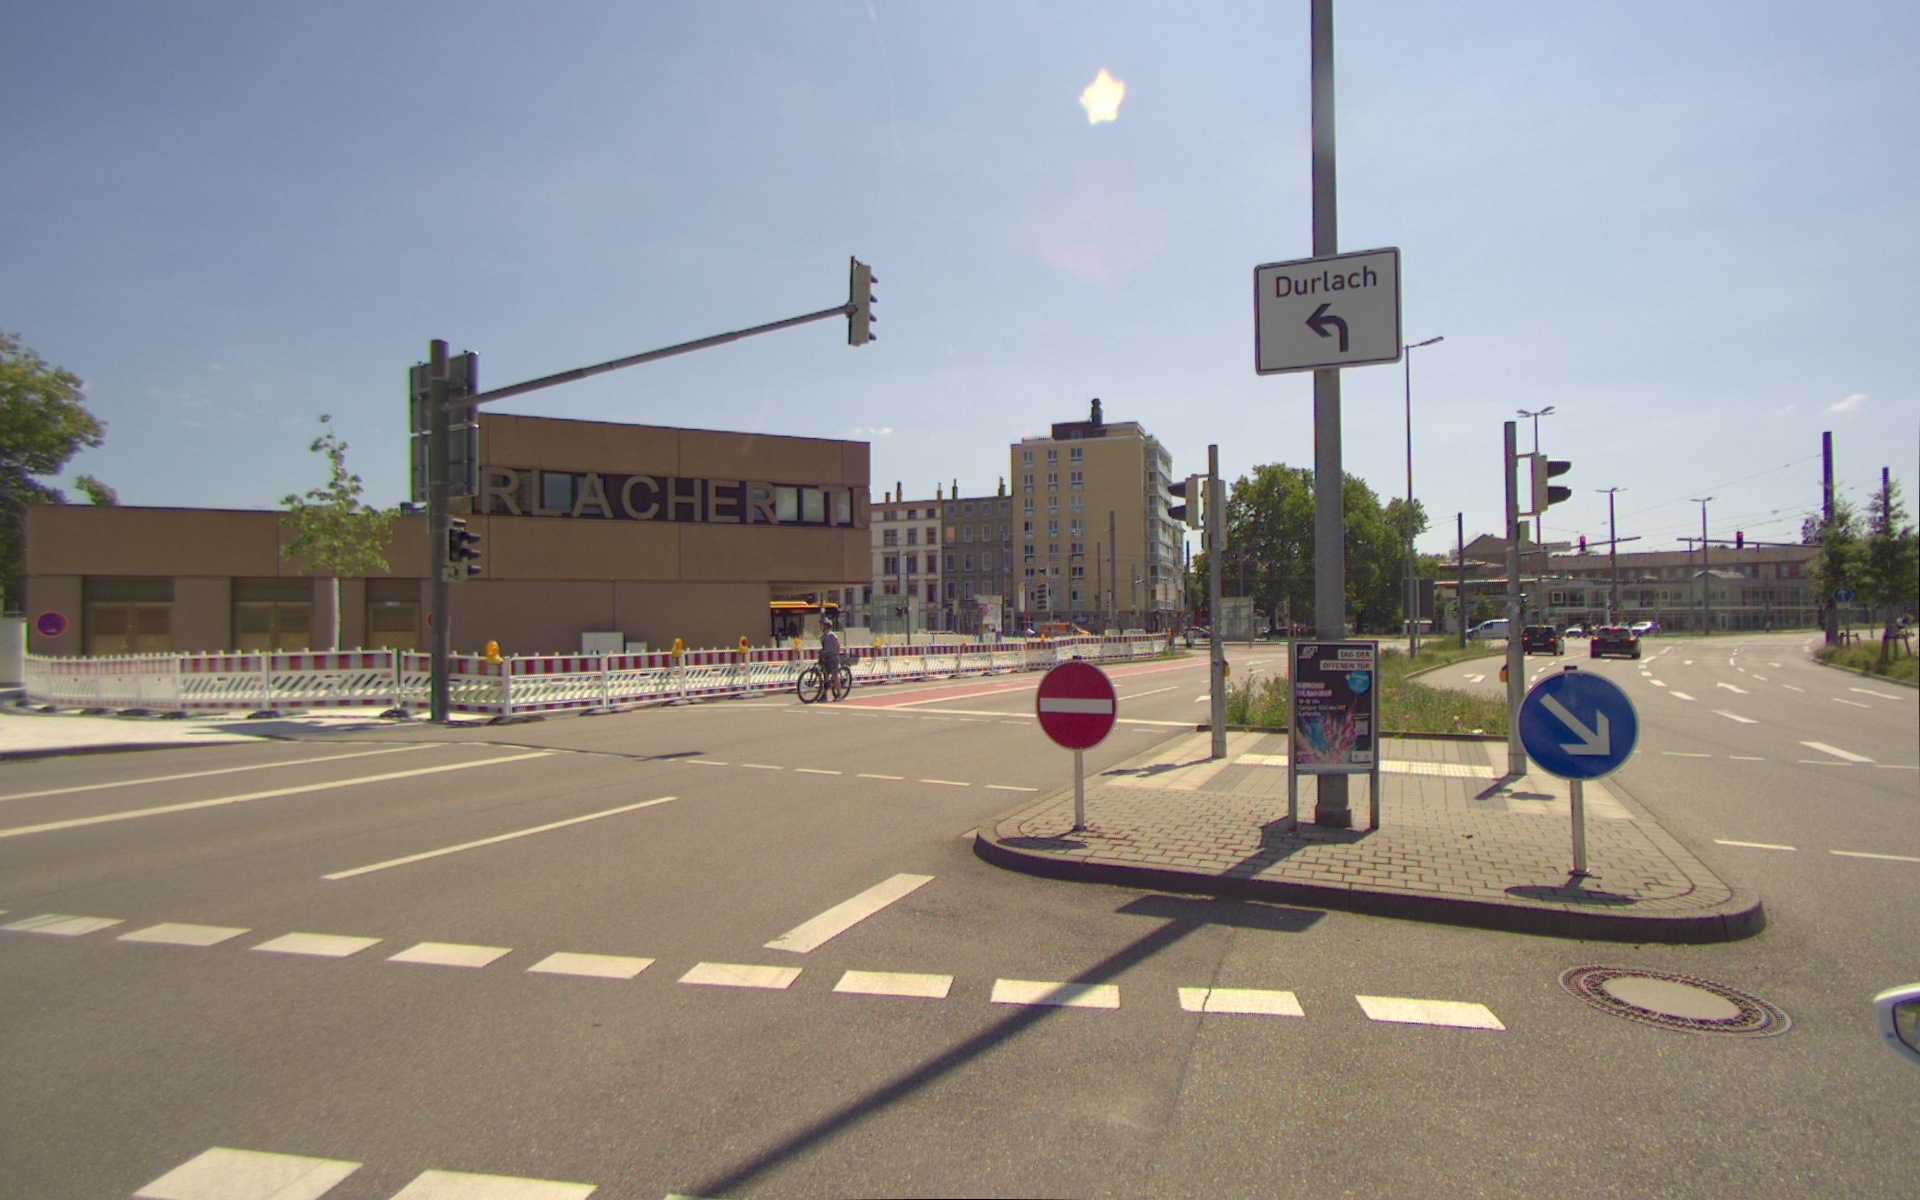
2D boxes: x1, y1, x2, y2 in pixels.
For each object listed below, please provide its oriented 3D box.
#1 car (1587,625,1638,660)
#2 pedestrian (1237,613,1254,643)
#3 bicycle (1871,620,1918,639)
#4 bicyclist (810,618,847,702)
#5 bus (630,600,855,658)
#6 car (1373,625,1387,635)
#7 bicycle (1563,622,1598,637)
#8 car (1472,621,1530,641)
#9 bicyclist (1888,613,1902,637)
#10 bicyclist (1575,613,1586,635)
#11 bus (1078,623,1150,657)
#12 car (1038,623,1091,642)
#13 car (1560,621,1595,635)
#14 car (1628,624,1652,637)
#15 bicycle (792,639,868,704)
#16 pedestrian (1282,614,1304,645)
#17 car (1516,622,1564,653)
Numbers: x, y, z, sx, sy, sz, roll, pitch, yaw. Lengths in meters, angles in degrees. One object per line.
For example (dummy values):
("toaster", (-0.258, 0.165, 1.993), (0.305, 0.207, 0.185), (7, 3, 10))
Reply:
("car", (30.758, 1.954, 47.292), (1.695, 1.577, 4.570), (-1, -2, 37))
("pedestrian", (28.630, 2.777, 100.696), (1.197, 2.977, 1.332), (-1, 1, 34))
("bicycle", (76.689, 2.415, 82.469), (2.789, 1.483, 0.631), (-1, 1, 36))
("bicyclist", (-2.562, 1.167, 19.582), (0.521, 1.600, 0.498), (-1, -2, 26))
("bus", (-12.312, 1.622, 57.355), (12.093, 3.081, 3.714), (0, -2, -27))
("car", (62.738, 4.473, 150.083), (1.488, 1.437, 3.412), (-1, 1, 32))
("bicycle", (57.742, 2.743, 93.550), (2.735, 1.404, 0.669), (-1, 1, 31))
("car", (47.946, 2.727, 89.059), (4.235, 1.649, 1.815), (-1, 1, 18))
("bicyclist", (76.717, 2.054, 82.405), (0.753, 1.964, 0.657), (0, 1, 36))
("bicyclist", (57.763, 2.260, 93.494), (0.833, 1.992, 0.625), (-1, 1, 30))
("bus", (7.085, 1.766, 45.713), (1.226, 1.266, 5.808), (-1, 1, 30))
("car", (9.762, 3.031, 93.773), (4.549, 1.635, 1.675), (-1, 1, 23))
("car", (63.365, 2.850, 103.108), (4.084, 1.408, 1.609), (1, -2, -36))
("car", (76.381, 3.457, 112.875), (3.234, 1.303, 1.419), (-2, 1, -40))
("bicycle", (-2.520, 1.372, 19.650), (0.514, 1.196, 1.897), (-1, -2, 26))
("pedestrian", (21.445, 1.910, 64.628), (1.162, 1.959, 0.900), (-1, 1, 31))
("car", (28.948, 1.858, 50.121), (1.601, 1.482, 3.985), (-1, -2, 37))
